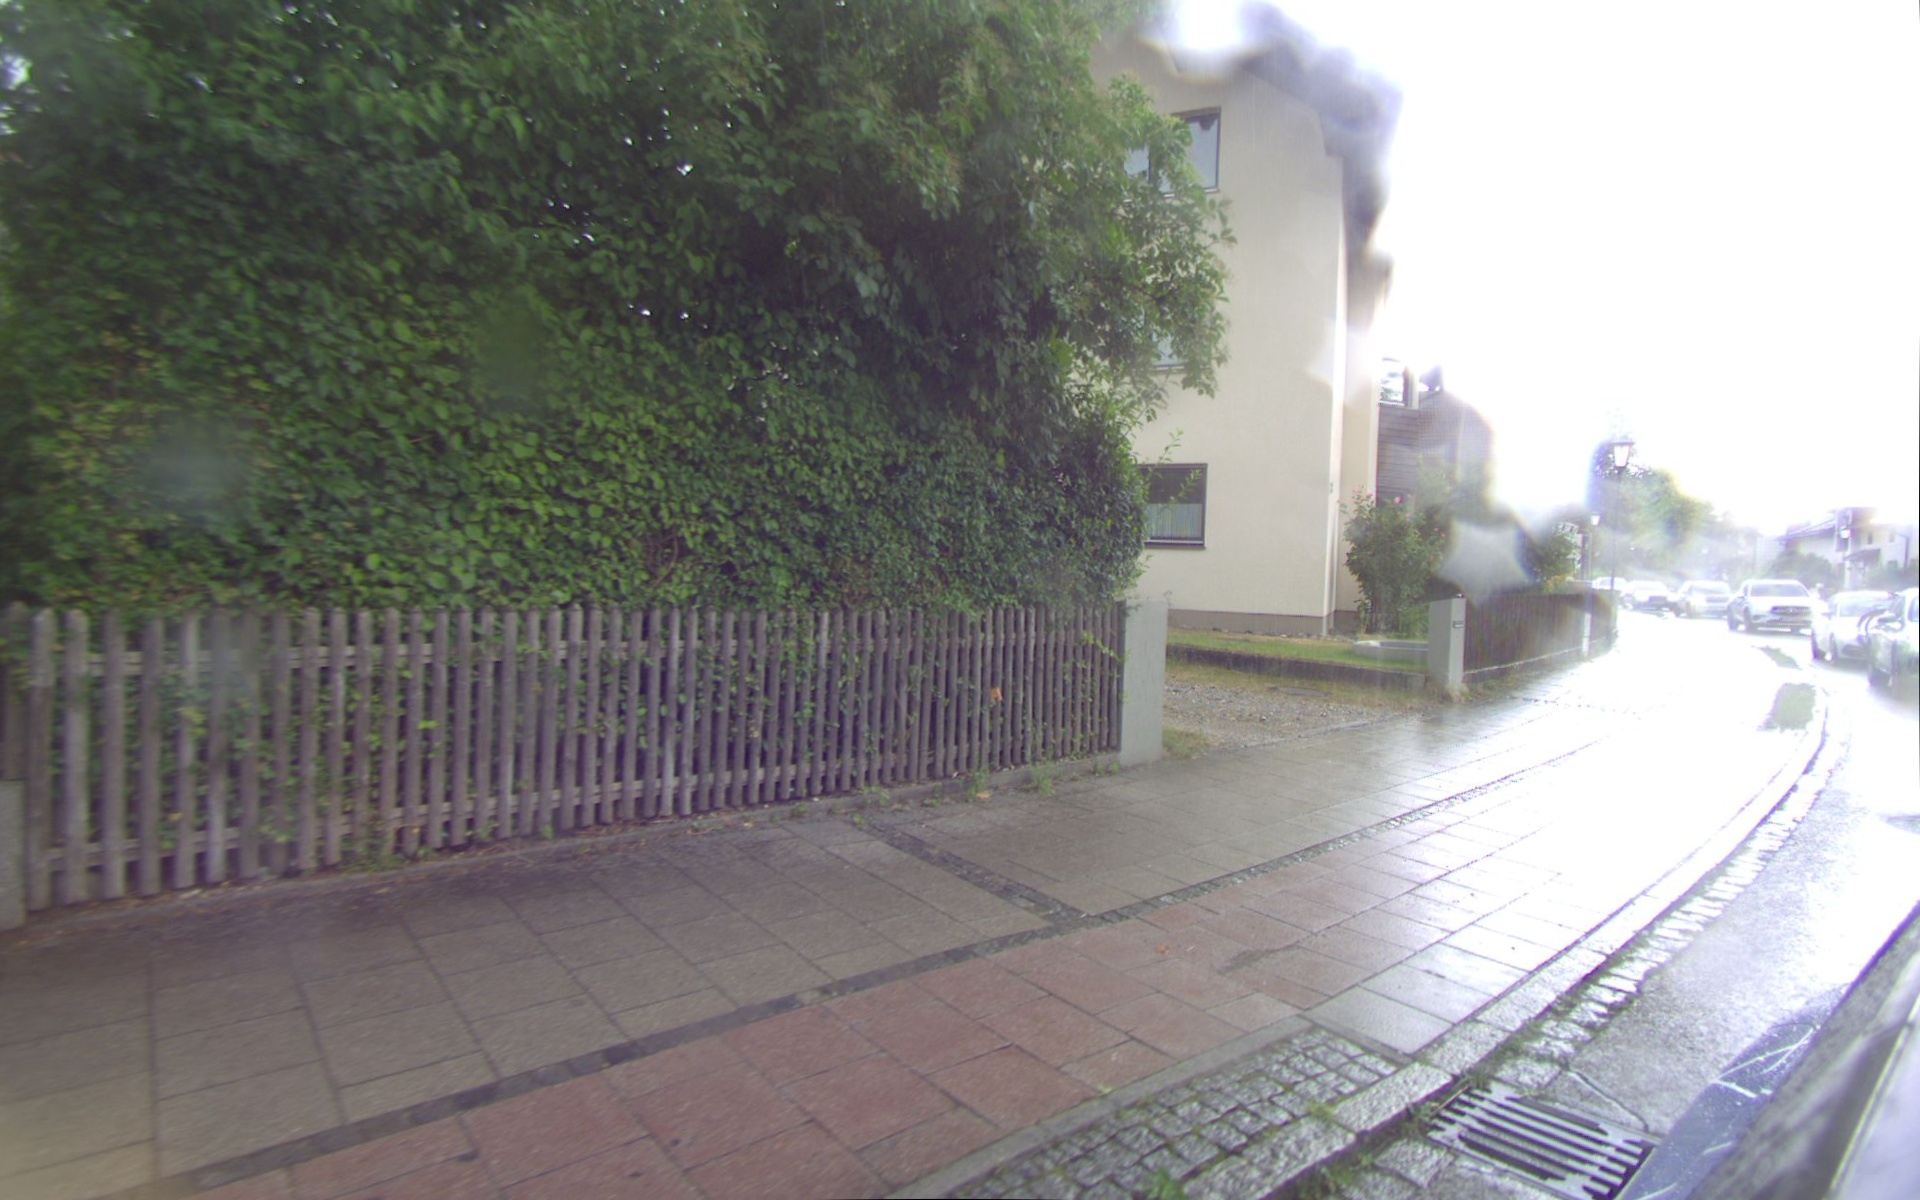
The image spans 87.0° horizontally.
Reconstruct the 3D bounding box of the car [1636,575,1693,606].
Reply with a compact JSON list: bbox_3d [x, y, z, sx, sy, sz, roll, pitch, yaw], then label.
[{"bbox_3d":[36.955,-0.500,53.169,1.777,1.568,4.244,0,1,26],"label":"car"}]

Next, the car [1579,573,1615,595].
[{"bbox_3d":[47.397,-1.163,75.407,1.777,1.568,4.244,0,1,26],"label":"car"}]

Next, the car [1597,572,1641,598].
[{"bbox_3d":[41.751,-0.939,64.223,1.777,1.568,4.244,0,1,26],"label":"car"}]

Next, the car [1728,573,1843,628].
[{"bbox_3d":[25.527,-0.020,31.452,1.777,1.568,4.244,0,1,26],"label":"car"}]

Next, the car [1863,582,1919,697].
[{"bbox_3d":[14.717,0.475,14.796,1.785,1.497,5.314,0,1,37],"label":"car"}]

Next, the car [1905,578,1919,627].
[{"bbox_3d":[30.097,0.108,30.089,1.800,1.509,4.022,1,1,26],"label":"car"}]

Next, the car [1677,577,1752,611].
[{"bbox_3d":[32.362,-0.281,43.536,1.777,1.390,4.244,0,1,26],"label":"car"}]

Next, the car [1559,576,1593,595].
[{"bbox_3d":[52.867,-1.264,86.922,1.774,1.568,4.250,0,1,22],"label":"car"}]

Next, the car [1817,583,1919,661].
[{"bbox_3d":[18.400,0.375,20.134,1.785,1.412,4.224,0,1,37],"label":"car"}]
